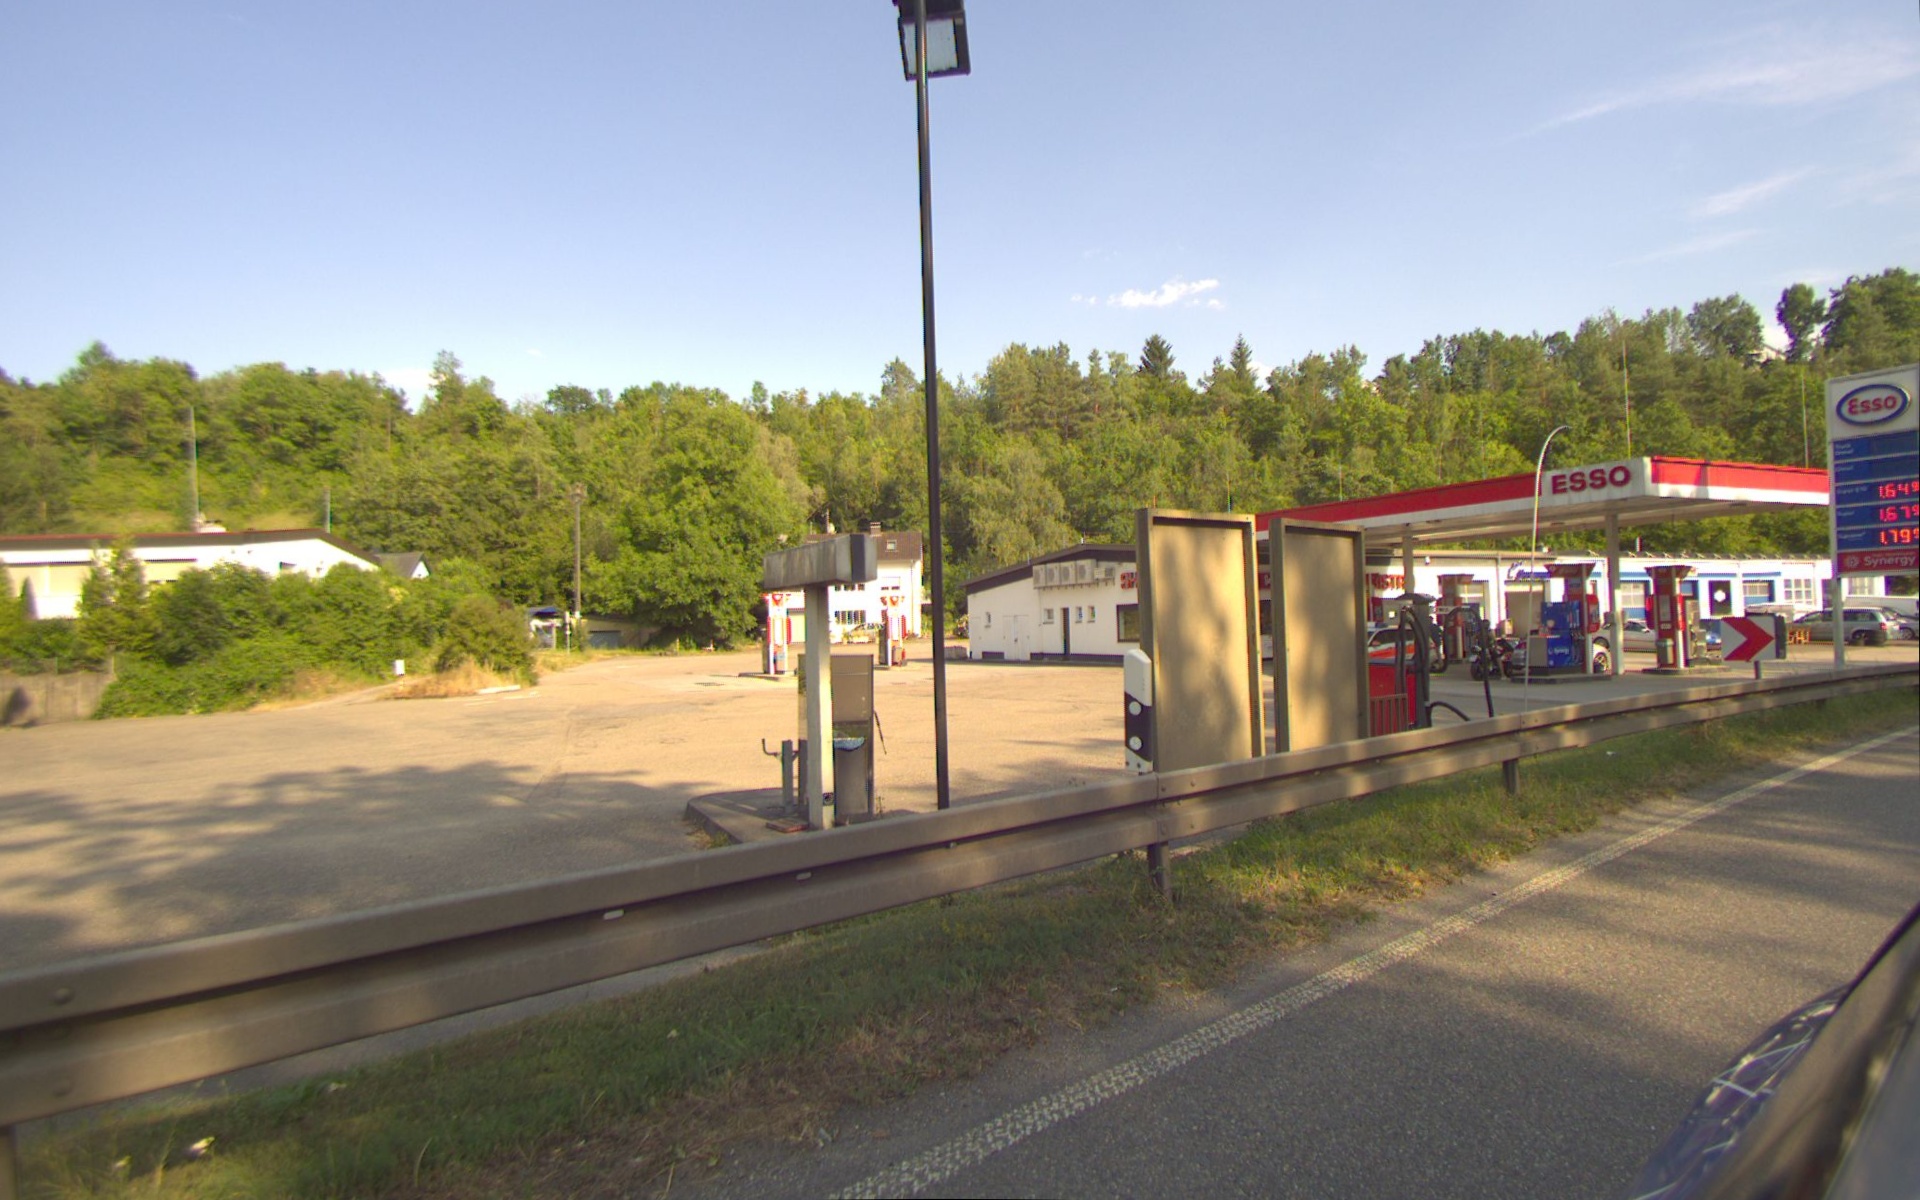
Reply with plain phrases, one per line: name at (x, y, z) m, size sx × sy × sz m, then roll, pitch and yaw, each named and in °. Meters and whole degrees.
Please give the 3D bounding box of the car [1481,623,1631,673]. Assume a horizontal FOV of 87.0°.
car at (17.958, 1.397, 30.476) m, size 4.300 × 1.336 × 1.851 m, roll 0°, pitch -1°, yaw -27°

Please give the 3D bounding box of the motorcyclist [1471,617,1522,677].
motorcyclist at (14.980, 1.287, 28.246) m, size 0.909 × 1.625 × 0.862 m, roll 0°, pitch -2°, yaw -27°

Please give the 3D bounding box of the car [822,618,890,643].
car at (-8.165, 2.370, 79.923) m, size 5.067 × 1.860 × 2.701 m, roll -1°, pitch -2°, yaw -1°

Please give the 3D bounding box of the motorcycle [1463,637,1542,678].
motorcycle at (15.196, 1.596, 28.342) m, size 2.293 × 1.025 × 0.765 m, roll 0°, pitch -1°, yaw -28°

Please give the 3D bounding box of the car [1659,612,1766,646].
car at (34.724, 1.298, 46.768) m, size 1.698 × 1.464 × 3.560 m, roll 0°, pitch -1°, yaw -27°

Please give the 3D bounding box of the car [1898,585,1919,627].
car at (58.256, 0.344, 58.916) m, size 2.163 × 2.480 × 4.930 m, roll 0°, pitch 1°, yaw -29°

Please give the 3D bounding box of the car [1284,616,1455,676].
car at (12.619, 1.343, 31.136) m, size 5.075 × 1.649 × 2.101 m, roll 0°, pitch -1°, yaw -28°

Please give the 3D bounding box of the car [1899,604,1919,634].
car at (50.727, 1.023, 50.909) m, size 1.918 × 1.451 × 4.742 m, roll 0°, pitch 2°, yaw -29°

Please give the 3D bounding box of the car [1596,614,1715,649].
car at (30.562, 1.348, 44.589) m, size 1.741 × 1.371 × 3.973 m, roll 0°, pitch 1°, yaw -31°

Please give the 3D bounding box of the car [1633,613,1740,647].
car at (32.789, 1.315, 45.759) m, size 1.656 × 1.424 × 3.566 m, roll 0°, pitch 0°, yaw -27°

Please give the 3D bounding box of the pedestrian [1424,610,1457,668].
pedestrian at (15.302, 1.243, 32.230) m, size 0.690 × 1.800 × 0.620 m, roll 0°, pitch -2°, yaw -25°

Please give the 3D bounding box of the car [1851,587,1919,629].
car at (54.704, 0.440, 57.661) m, size 2.248 × 2.302 × 5.500 m, roll 0°, pitch 1°, yaw -27°

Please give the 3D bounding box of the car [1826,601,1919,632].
car at (50.550, 0.867, 55.526) m, size 1.856 × 1.631 × 4.260 m, roll 0°, pitch 0°, yaw -27°

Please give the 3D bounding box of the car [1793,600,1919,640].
car at (44.184, 0.934, 50.011) m, size 1.854 × 1.750 × 4.267 m, roll 0°, pitch 2°, yaw -29°

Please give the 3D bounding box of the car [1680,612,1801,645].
car at (36.634, 1.307, 47.608) m, size 1.856 × 1.365 × 4.086 m, roll 0°, pitch 1°, yaw -27°
